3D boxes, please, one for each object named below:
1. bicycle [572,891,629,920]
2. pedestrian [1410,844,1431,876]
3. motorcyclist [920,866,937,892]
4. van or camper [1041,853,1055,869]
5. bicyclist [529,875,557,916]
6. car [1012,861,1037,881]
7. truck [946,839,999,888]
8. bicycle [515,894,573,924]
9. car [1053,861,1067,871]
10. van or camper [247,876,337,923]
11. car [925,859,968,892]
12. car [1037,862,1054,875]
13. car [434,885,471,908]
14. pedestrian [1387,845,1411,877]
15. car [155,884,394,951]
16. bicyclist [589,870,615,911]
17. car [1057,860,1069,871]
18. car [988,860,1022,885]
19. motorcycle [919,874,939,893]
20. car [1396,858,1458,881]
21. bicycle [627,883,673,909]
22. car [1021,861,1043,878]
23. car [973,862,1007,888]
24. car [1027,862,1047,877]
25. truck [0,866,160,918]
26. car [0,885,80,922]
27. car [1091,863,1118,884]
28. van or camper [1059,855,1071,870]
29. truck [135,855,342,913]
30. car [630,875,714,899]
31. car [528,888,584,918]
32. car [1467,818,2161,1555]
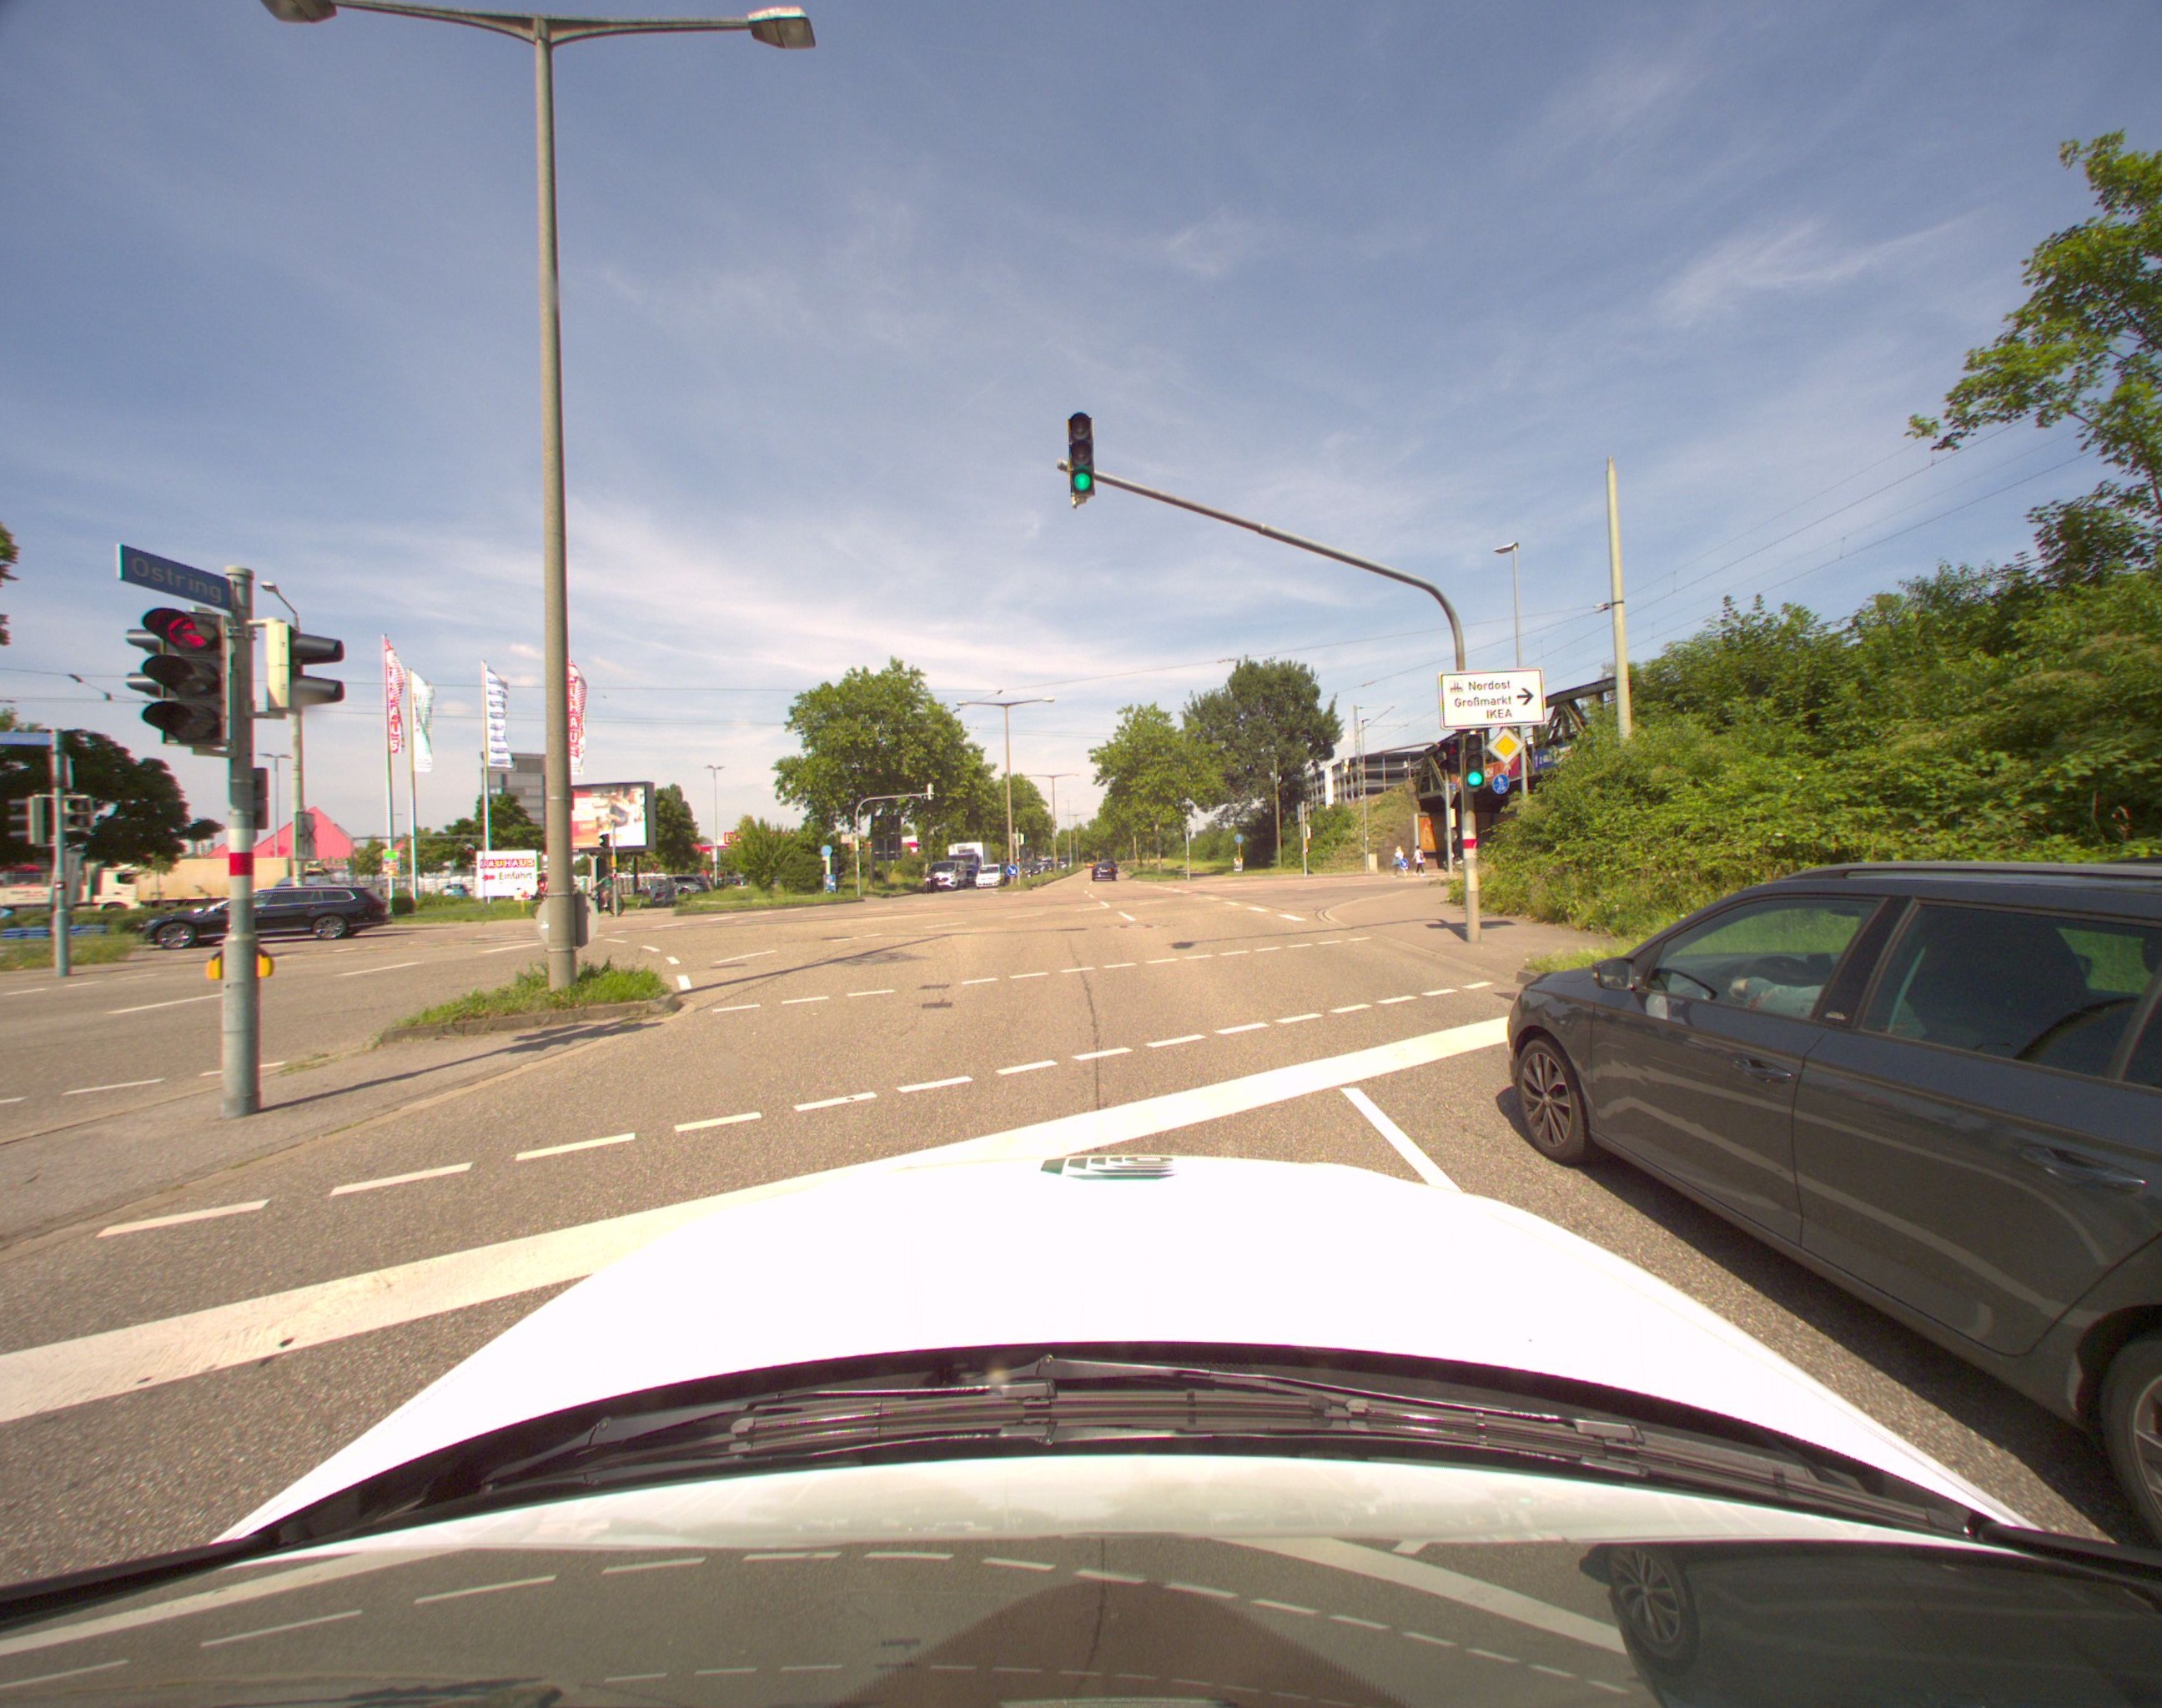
[{"bbox_3d":[-17.865,1.893,30.319,0.412,0.937,2.007,-2,-1,18],"label":"bicycle"},{"bbox_3d":[17.366,0.306,41.638,0.726,1.579,0.778,-2,-1,1],"label":"pedestrian"},{"bbox_3d":[-9.076,1.499,48.599,0.740,1.470,0.988,-2,0,1],"label":"motorcyclist"},{"bbox_3d":[-5.958,1.256,147.016,2.007,2.587,5.519,-3,0,2],"label":"van or camper"},{"bbox_3d":[-19.257,1.487,29.135,0.523,1.414,0.613,-2,-1,24],"label":"bicyclist"},{"bbox_3d":[-4.963,1.463,72.231,1.682,1.586,4.242,-3,0,2],"label":"car"},{"bbox_3d":[-8.418,0.685,63.926,2.793,3.471,6.693,-4,0,2],"label":"truck"},{"bbox_3d":[-19.188,1.947,29.144,0.430,0.937,1.761,-2,-1,24],"label":"bicycle"},{"bbox_3d":[-3.178,1.850,125.458,1.777,1.459,4.473,-3,0,2],"label":"car"},{"bbox_3d":[-41.045,2.294,42.524,2.204,2.210,5.462,-2,-1,-32],"label":"van or camper"},{"bbox_3d":[-8.777,1.376,53.524,1.970,1.999,5.030,-2,0,-1],"label":"car"},{"bbox_3d":[-4.245,1.713,97.836,1.778,1.489,4.211,-3,0,1],"label":"car"},{"bbox_3d":[-45.851,3.065,59.491,1.829,1.572,4.234,-2,-1,-34],"label":"car"},{"bbox_3d":[16.283,0.360,41.683,0.865,1.611,0.778,-2,-1,1],"label":"pedestrian"},{"bbox_3d":[-21.369,1.626,21.865,4.238,1.443,1.771,-2,0,-33],"label":"car"},{"bbox_3d":[-17.865,1.361,30.372,0.523,1.491,0.612,-2,-1,17],"label":"bicyclist"},{"bbox_3d":[-2.855,1.864,132.017,1.682,1.510,3.816,-3,0,2],"label":"car"},{"bbox_3d":[-5.419,1.315,58.703,1.813,1.646,4.695,-3,-1,2],"label":"car"},{"bbox_3d":[-9.038,1.742,48.502,0.685,0.991,2.218,-2,0,2],"label":"motorcycle"},{"bbox_3d":[23.765,1.029,55.877,4.524,1.409,1.977,-2,-1,-39],"label":"car"},{"bbox_3d":[-18.788,1.834,35.579,0.590,1.037,1.903,-2,-1,16],"label":"bicycle"},{"bbox_3d":[-4.781,1.539,79.506,1.682,1.473,4.220,-4,0,2],"label":"car"},{"bbox_3d":[-5.863,1.320,52.775,1.587,1.477,3.731,-3,0,2],"label":"car"},{"bbox_3d":[-4.577,1.610,85.141,1.682,1.472,3.816,-3,0,2],"label":"car"},{"bbox_3d":[-65.032,2.400,50.731,9.655,2.892,2.895,-2,-1,-35],"label":"truck"},{"bbox_3d":[-77.040,3.595,59.854,2.396,2.529,6.066,-2,-1,-31],"label":"car"},{"bbox_3d":[1.724,1.447,62.130,1.902,1.463,4.621,-2,0,0],"label":"car"},{"bbox_3d":[-2.734,1.480,140.981,1.932,2.368,5.397,-3,-1,0],"label":"van or camper"},{"bbox_3d":[-55.075,1.872,53.701,8.964,3.311,3.125,-2,-1,-36],"label":"truck"},{"bbox_3d":[-27.782,2.220,55.461,4.556,1.414,2.196,-2,-1,-6],"label":"car"},{"bbox_3d":[-31.692,2.908,49.109,2.212,1.572,4.522,-1,-1,-41],"label":"car"},{"bbox_3d":[2.988,0.651,2.618,1.668,1.453,4.037,-1,0,2],"label":"car"}]
